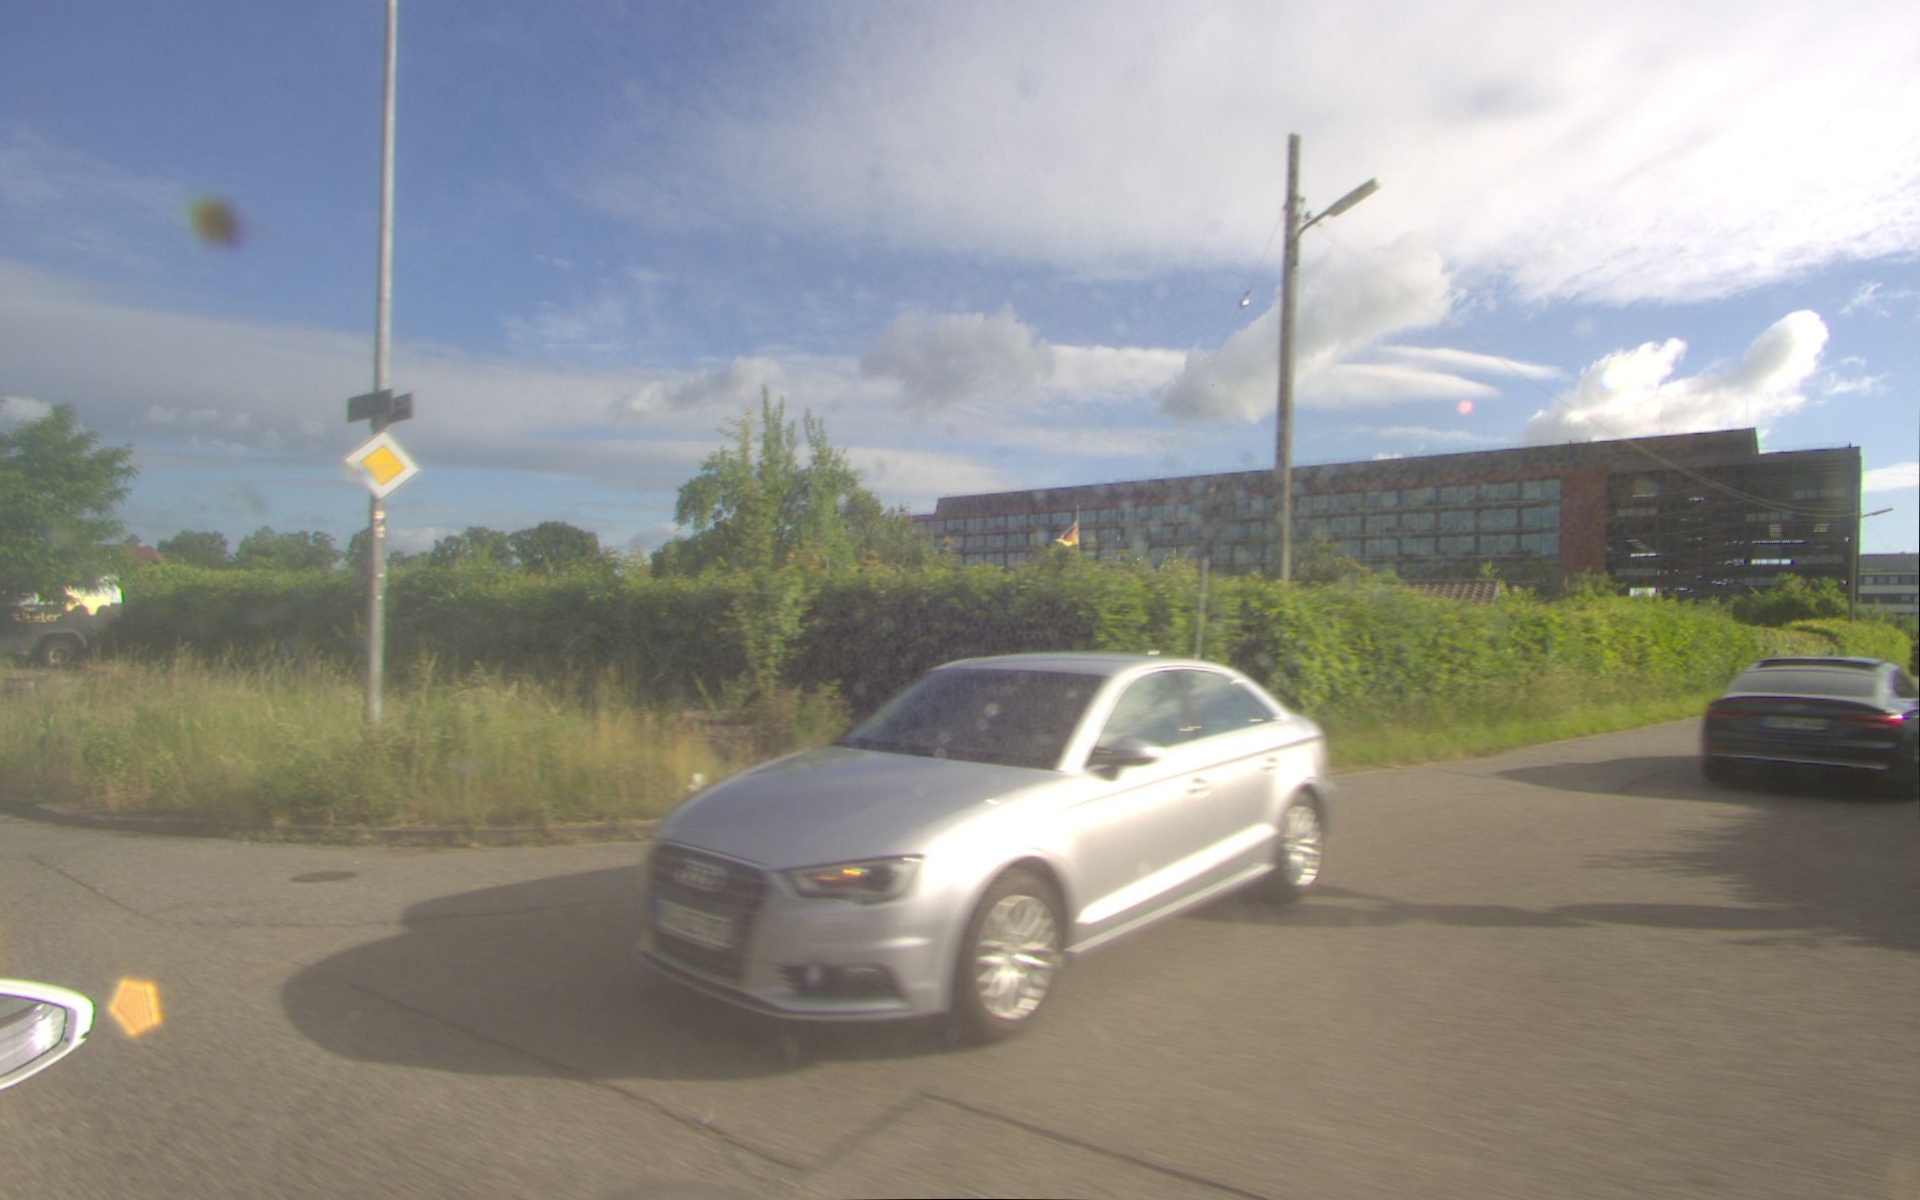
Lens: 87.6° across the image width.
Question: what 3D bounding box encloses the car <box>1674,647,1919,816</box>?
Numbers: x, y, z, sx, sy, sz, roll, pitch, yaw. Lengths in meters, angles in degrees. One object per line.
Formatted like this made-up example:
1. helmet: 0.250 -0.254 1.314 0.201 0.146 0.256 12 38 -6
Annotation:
1. car: 9.935 1.328 11.469 4.290 1.453 1.955 1 -1 -42

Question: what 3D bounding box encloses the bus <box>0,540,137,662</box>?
1. bus: -22.779 -0.003 23.214 2.038 2.783 5.355 2 0 32

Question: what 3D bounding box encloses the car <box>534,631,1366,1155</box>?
1. car: 0.361 0.921 5.177 1.910 1.462 4.341 0 -1 41
